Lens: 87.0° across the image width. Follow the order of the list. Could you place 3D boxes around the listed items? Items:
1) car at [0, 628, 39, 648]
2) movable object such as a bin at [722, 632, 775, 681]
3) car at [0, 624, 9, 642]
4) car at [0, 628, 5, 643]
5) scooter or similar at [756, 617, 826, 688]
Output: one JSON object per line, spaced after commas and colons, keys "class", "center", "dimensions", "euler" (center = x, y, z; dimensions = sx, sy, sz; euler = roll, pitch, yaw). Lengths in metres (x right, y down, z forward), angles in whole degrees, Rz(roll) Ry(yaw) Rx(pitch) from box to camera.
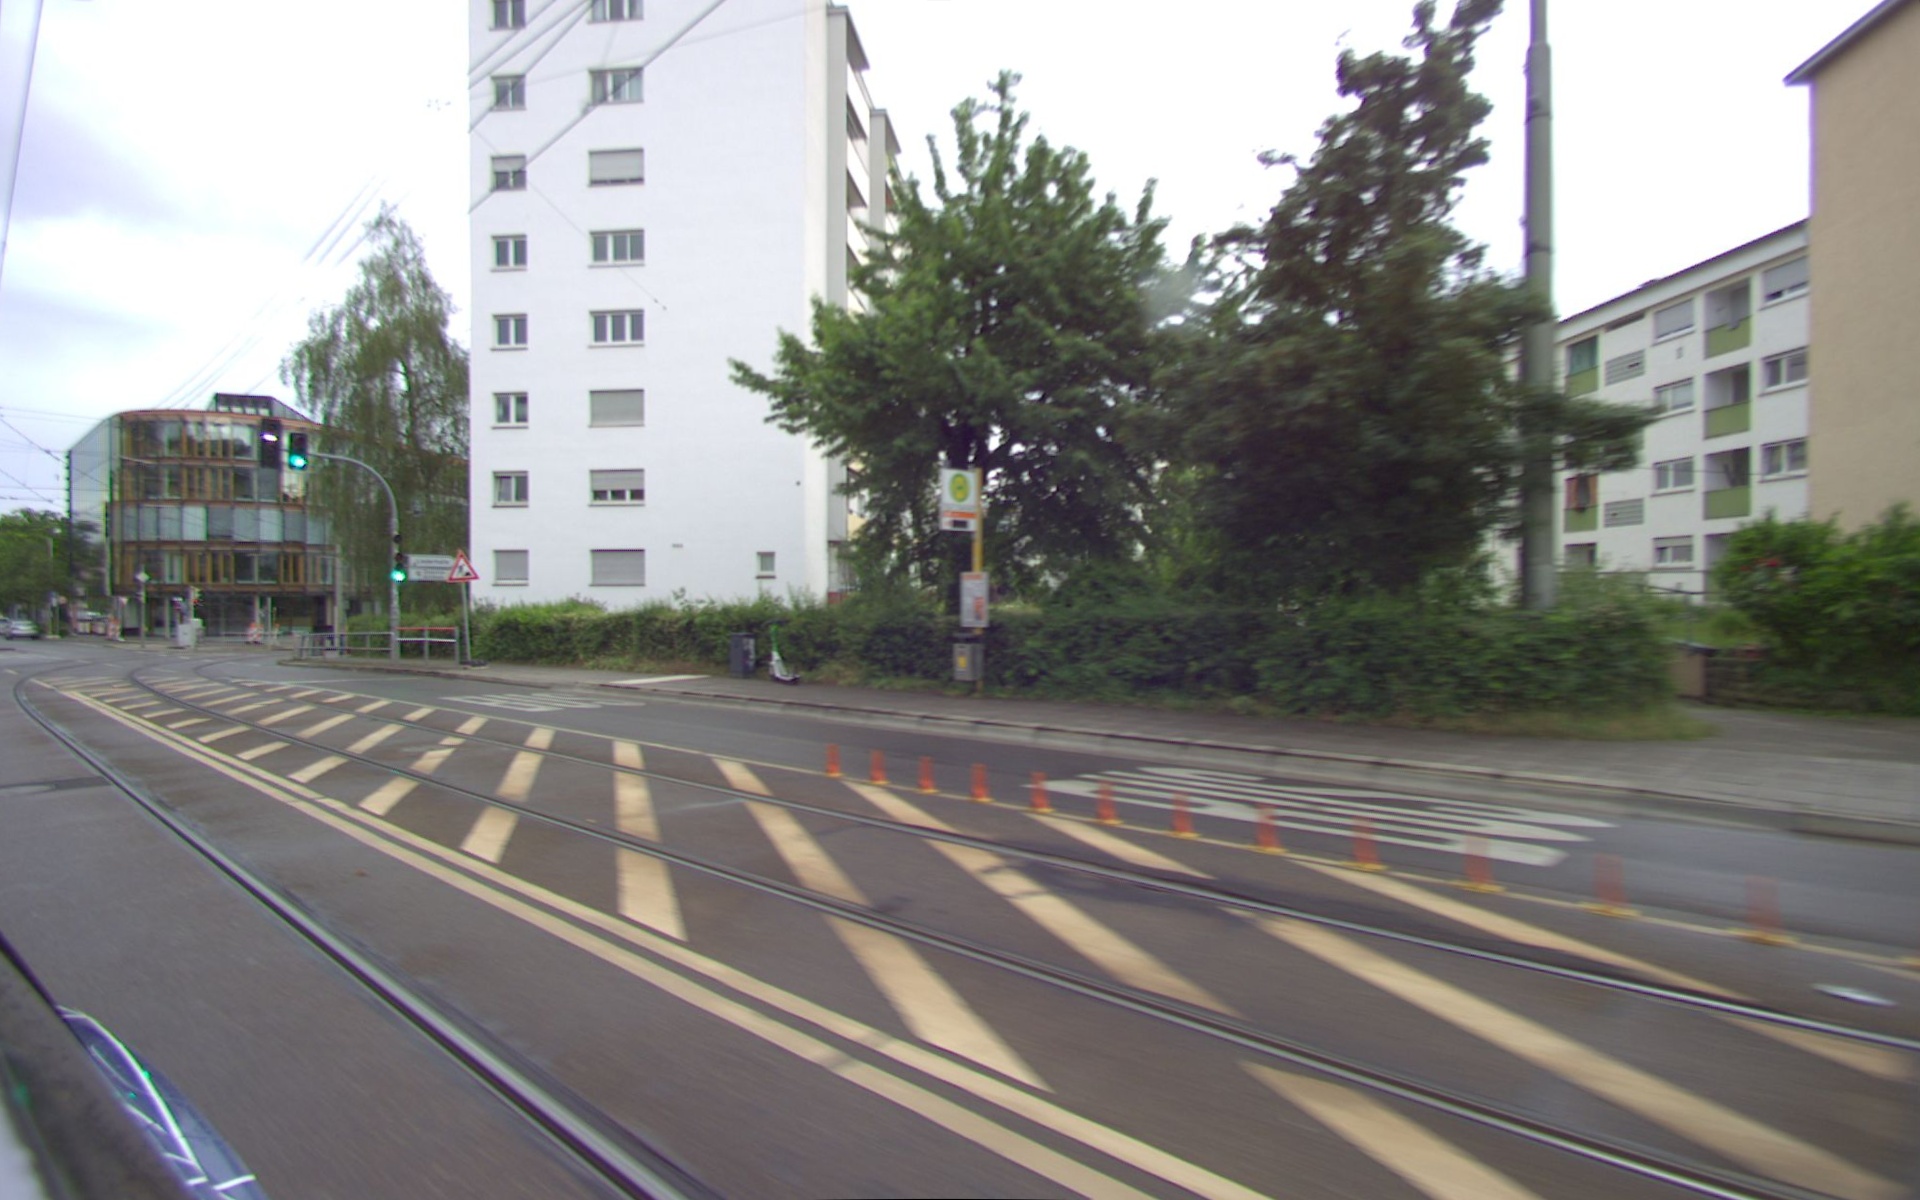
{"class": "car", "center": [-71.383, 2.840, 76.793], "dimensions": [4.644, 1.405, 1.838], "euler": [-1, -1, 43]}
{"class": "movable object such as a bin", "center": [-4.189, 1.111, 20.055], "dimensions": [0.759, 0.888, 0.680], "euler": [0, 1, 38]}
{"class": "car", "center": [-103.415, 3.546, 108.399], "dimensions": [3.998, 1.722, 1.856], "euler": [0, 0, 41]}
{"class": "car", "center": [-100.088, 3.691, 104.451], "dimensions": [3.998, 1.408, 1.856], "euler": [0, 0, 41]}
{"class": "scooter or similar", "center": [-3.088, 0.930, 18.426], "dimensions": [0.565, 1.193, 1.603], "euler": [-1, 1, -37]}
